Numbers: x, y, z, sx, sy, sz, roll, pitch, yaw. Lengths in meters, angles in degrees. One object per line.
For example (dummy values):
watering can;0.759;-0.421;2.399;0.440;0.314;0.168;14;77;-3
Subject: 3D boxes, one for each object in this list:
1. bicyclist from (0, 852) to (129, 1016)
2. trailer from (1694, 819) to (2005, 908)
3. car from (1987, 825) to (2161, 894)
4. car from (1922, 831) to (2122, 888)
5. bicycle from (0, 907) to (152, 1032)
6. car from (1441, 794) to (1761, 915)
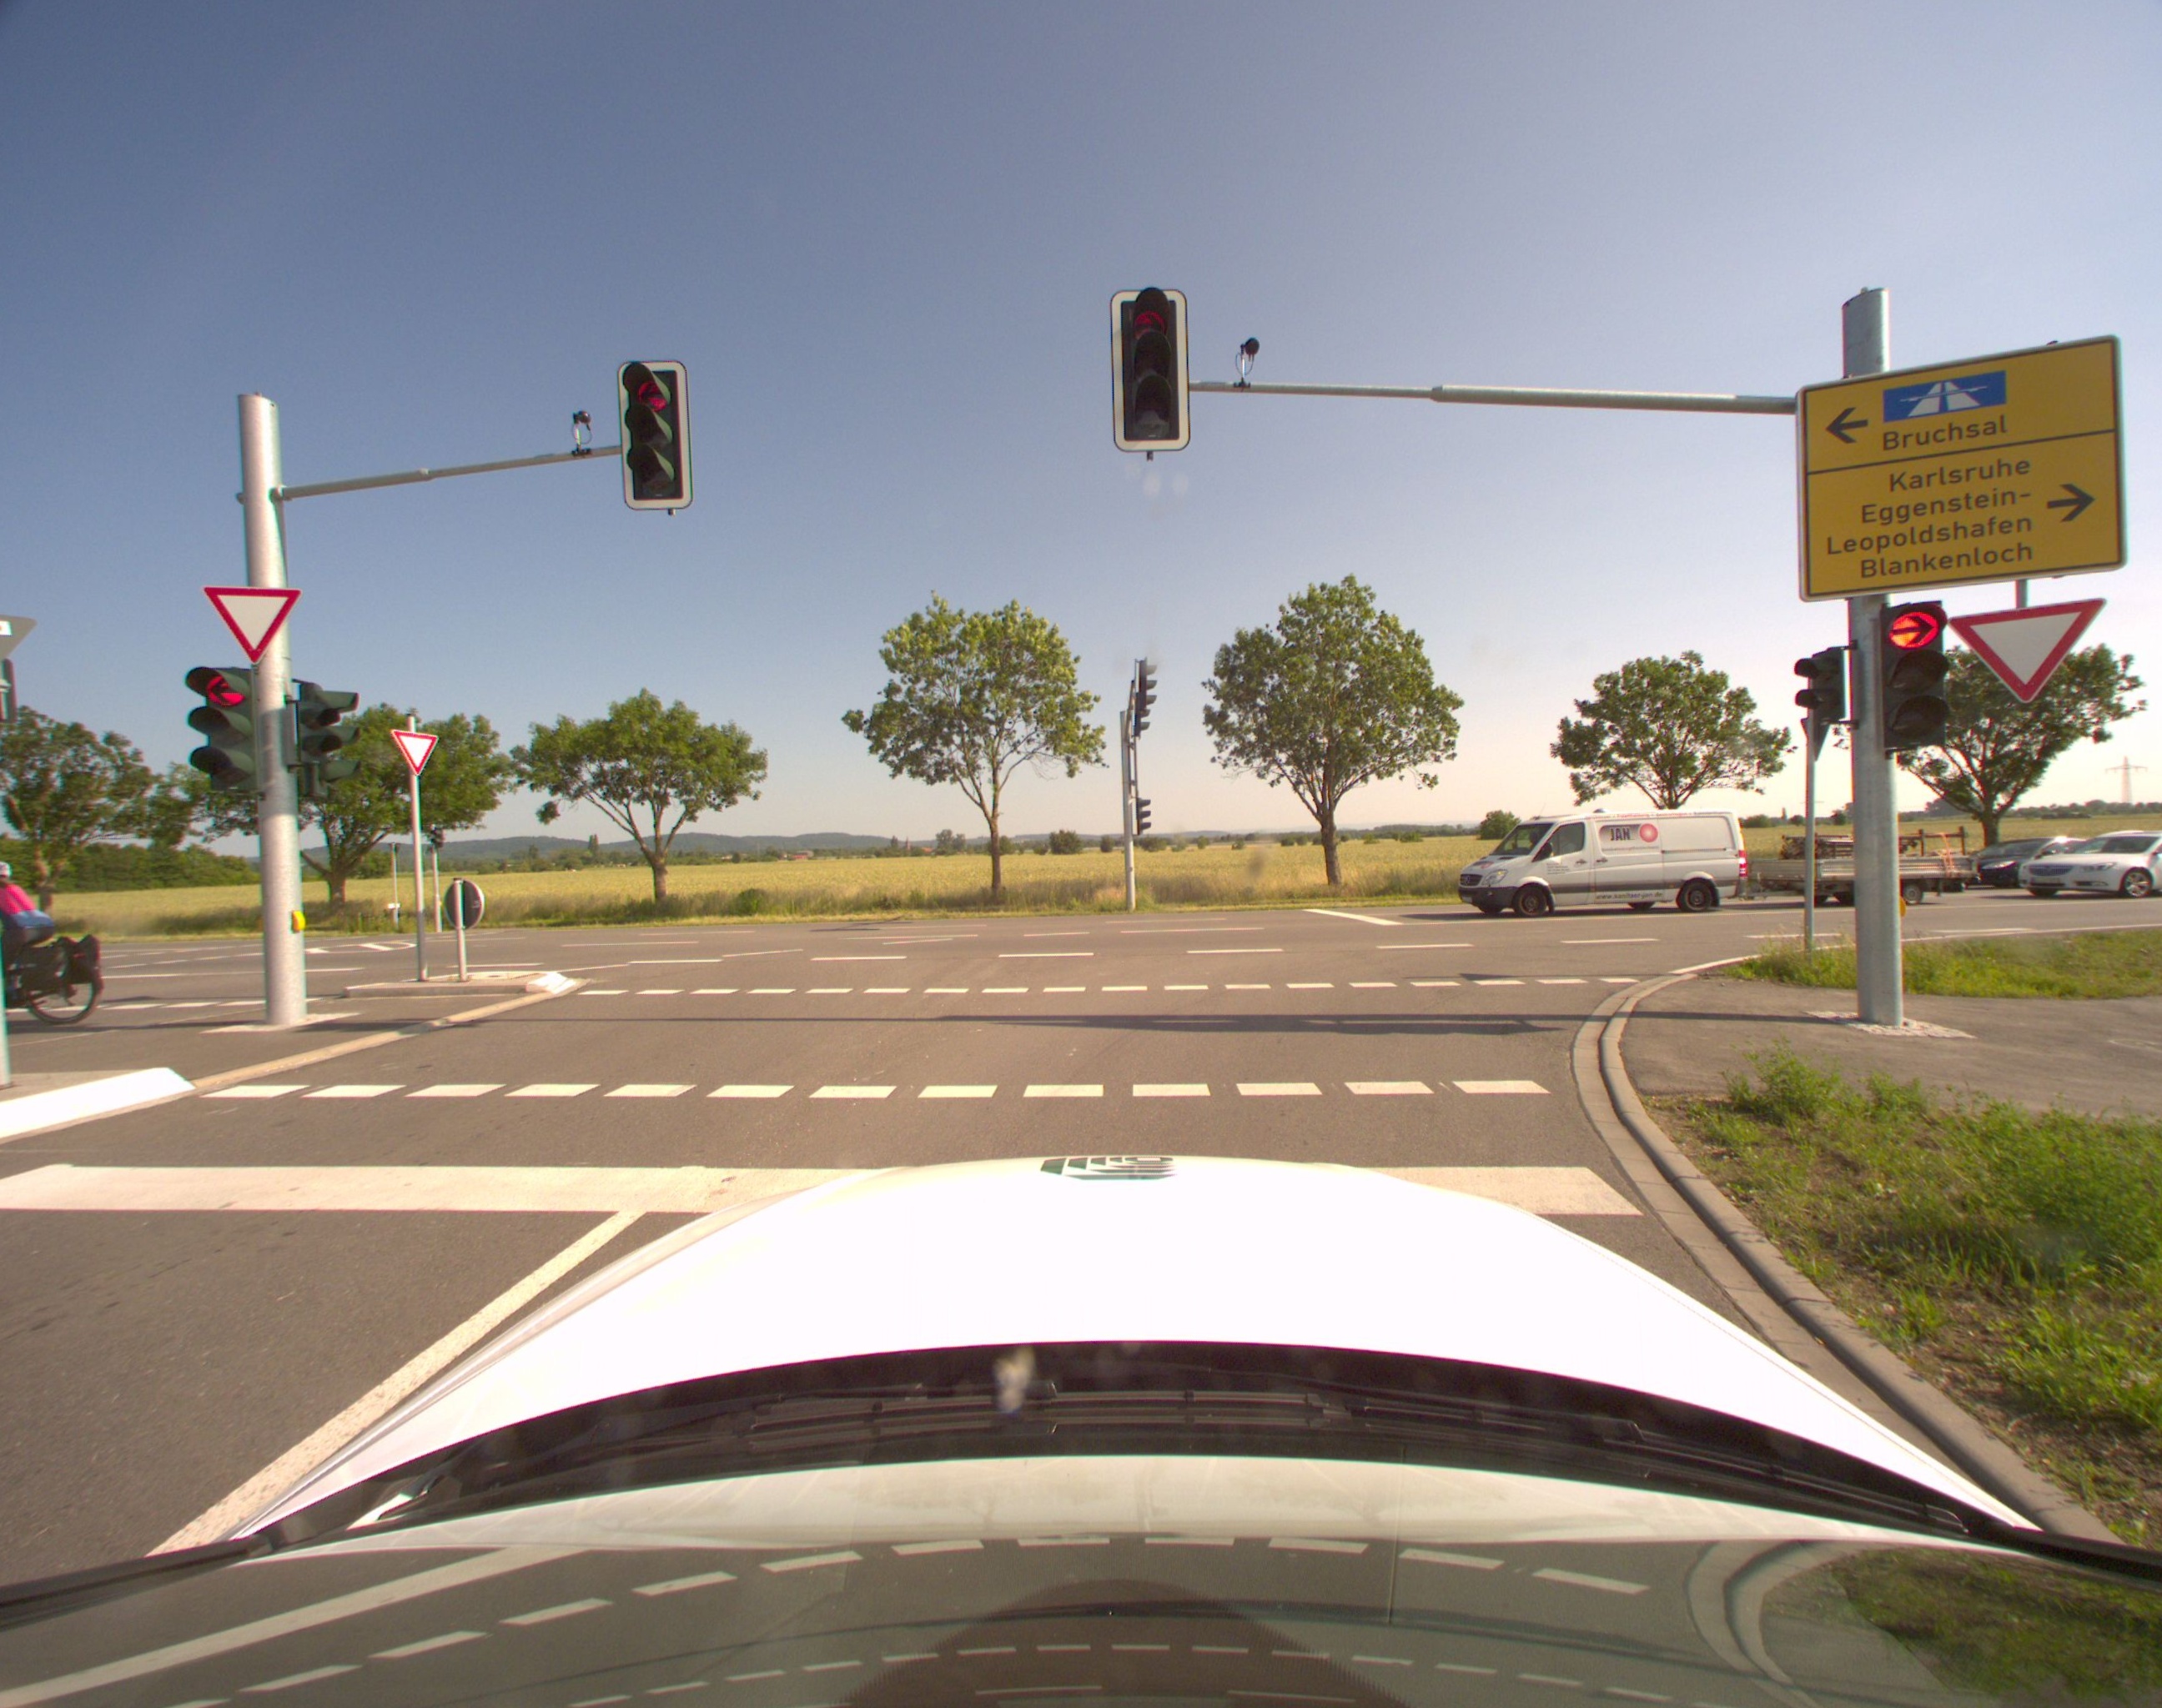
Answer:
bicyclist;-11.302;0.798;8.506;1.276;1.601;1.164;-1;1;-3
trailer;17.290;0.215;18.514;5.244;1.753;1.953;-2;-1;-1
car;24.647;0.121;19.077;4.858;1.510;1.997;0;-1;-4
car;27.402;0.143;23.787;3.984;1.501;1.995;-1;1;-8
bicycle;-11.313;1.190;8.479;2.151;1.186;0.889;-1;-1;-4
car;11.674;0.025;18.616;5.934;2.493;2.001;-1;-1;2
